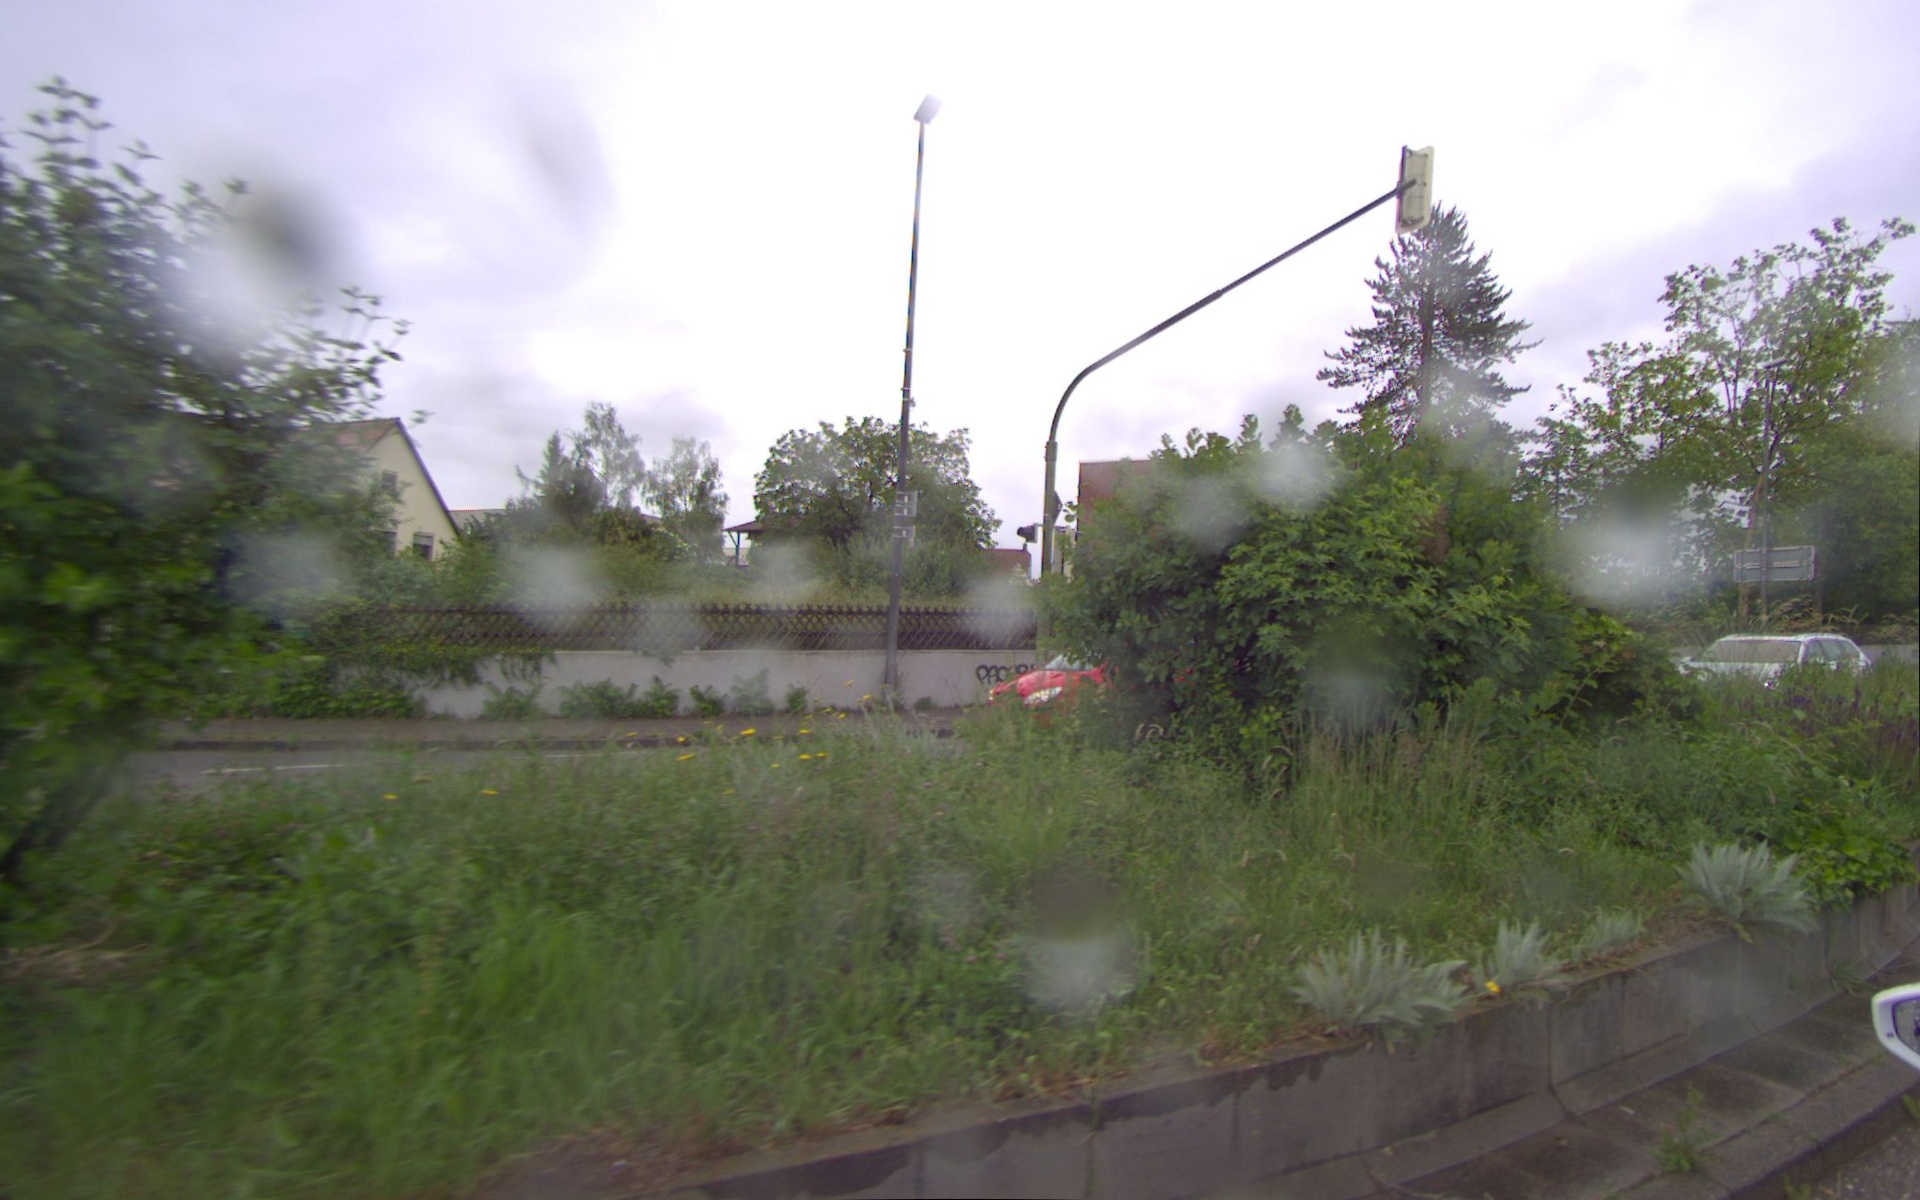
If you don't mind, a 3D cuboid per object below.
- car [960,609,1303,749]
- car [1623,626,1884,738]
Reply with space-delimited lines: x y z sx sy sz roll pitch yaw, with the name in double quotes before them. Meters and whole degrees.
"car" 2.459 1.038 14.097 4.544 1.684 1.984 2 -2 -30
"car" 13.585 1.322 17.149 4.544 1.684 1.984 2 -2 -30
